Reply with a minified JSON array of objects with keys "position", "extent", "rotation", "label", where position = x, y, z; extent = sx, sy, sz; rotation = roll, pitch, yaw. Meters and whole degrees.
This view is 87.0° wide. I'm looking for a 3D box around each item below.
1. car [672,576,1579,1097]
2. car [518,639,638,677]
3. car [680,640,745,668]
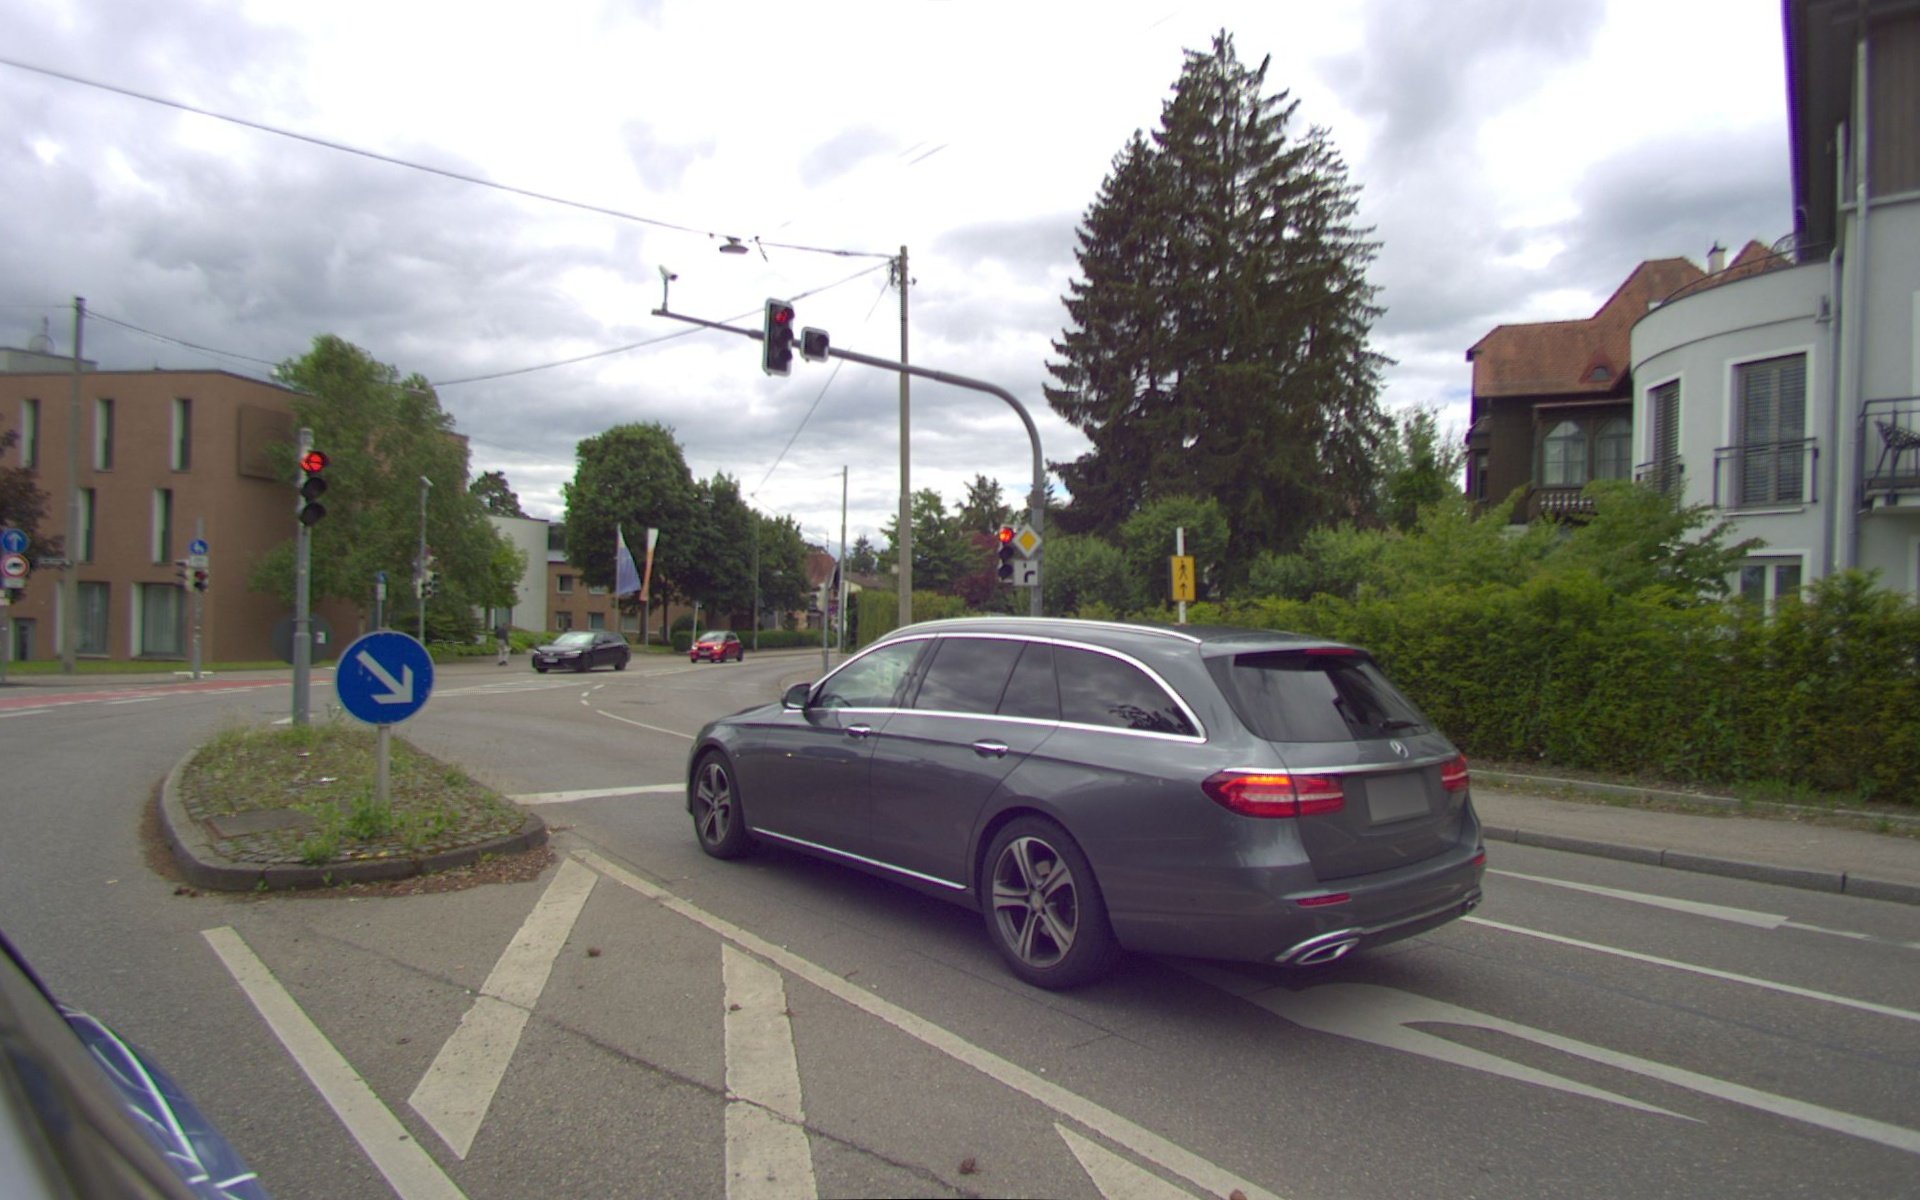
[{"position":[0.292,0.775,5.361],"extent":[1.802,1.496,4.757],"rotation":[2,-3,-38],"label":"car"},{"position":[-13.502,2.047,36.031],"extent":[1.983,1.254,3.977],"rotation":[-2,-3,17],"label":"car"},{"position":[-12.060,2.604,49.606],"extent":[1.974,1.209,3.995],"rotation":[0,-1,4],"label":"car"}]
